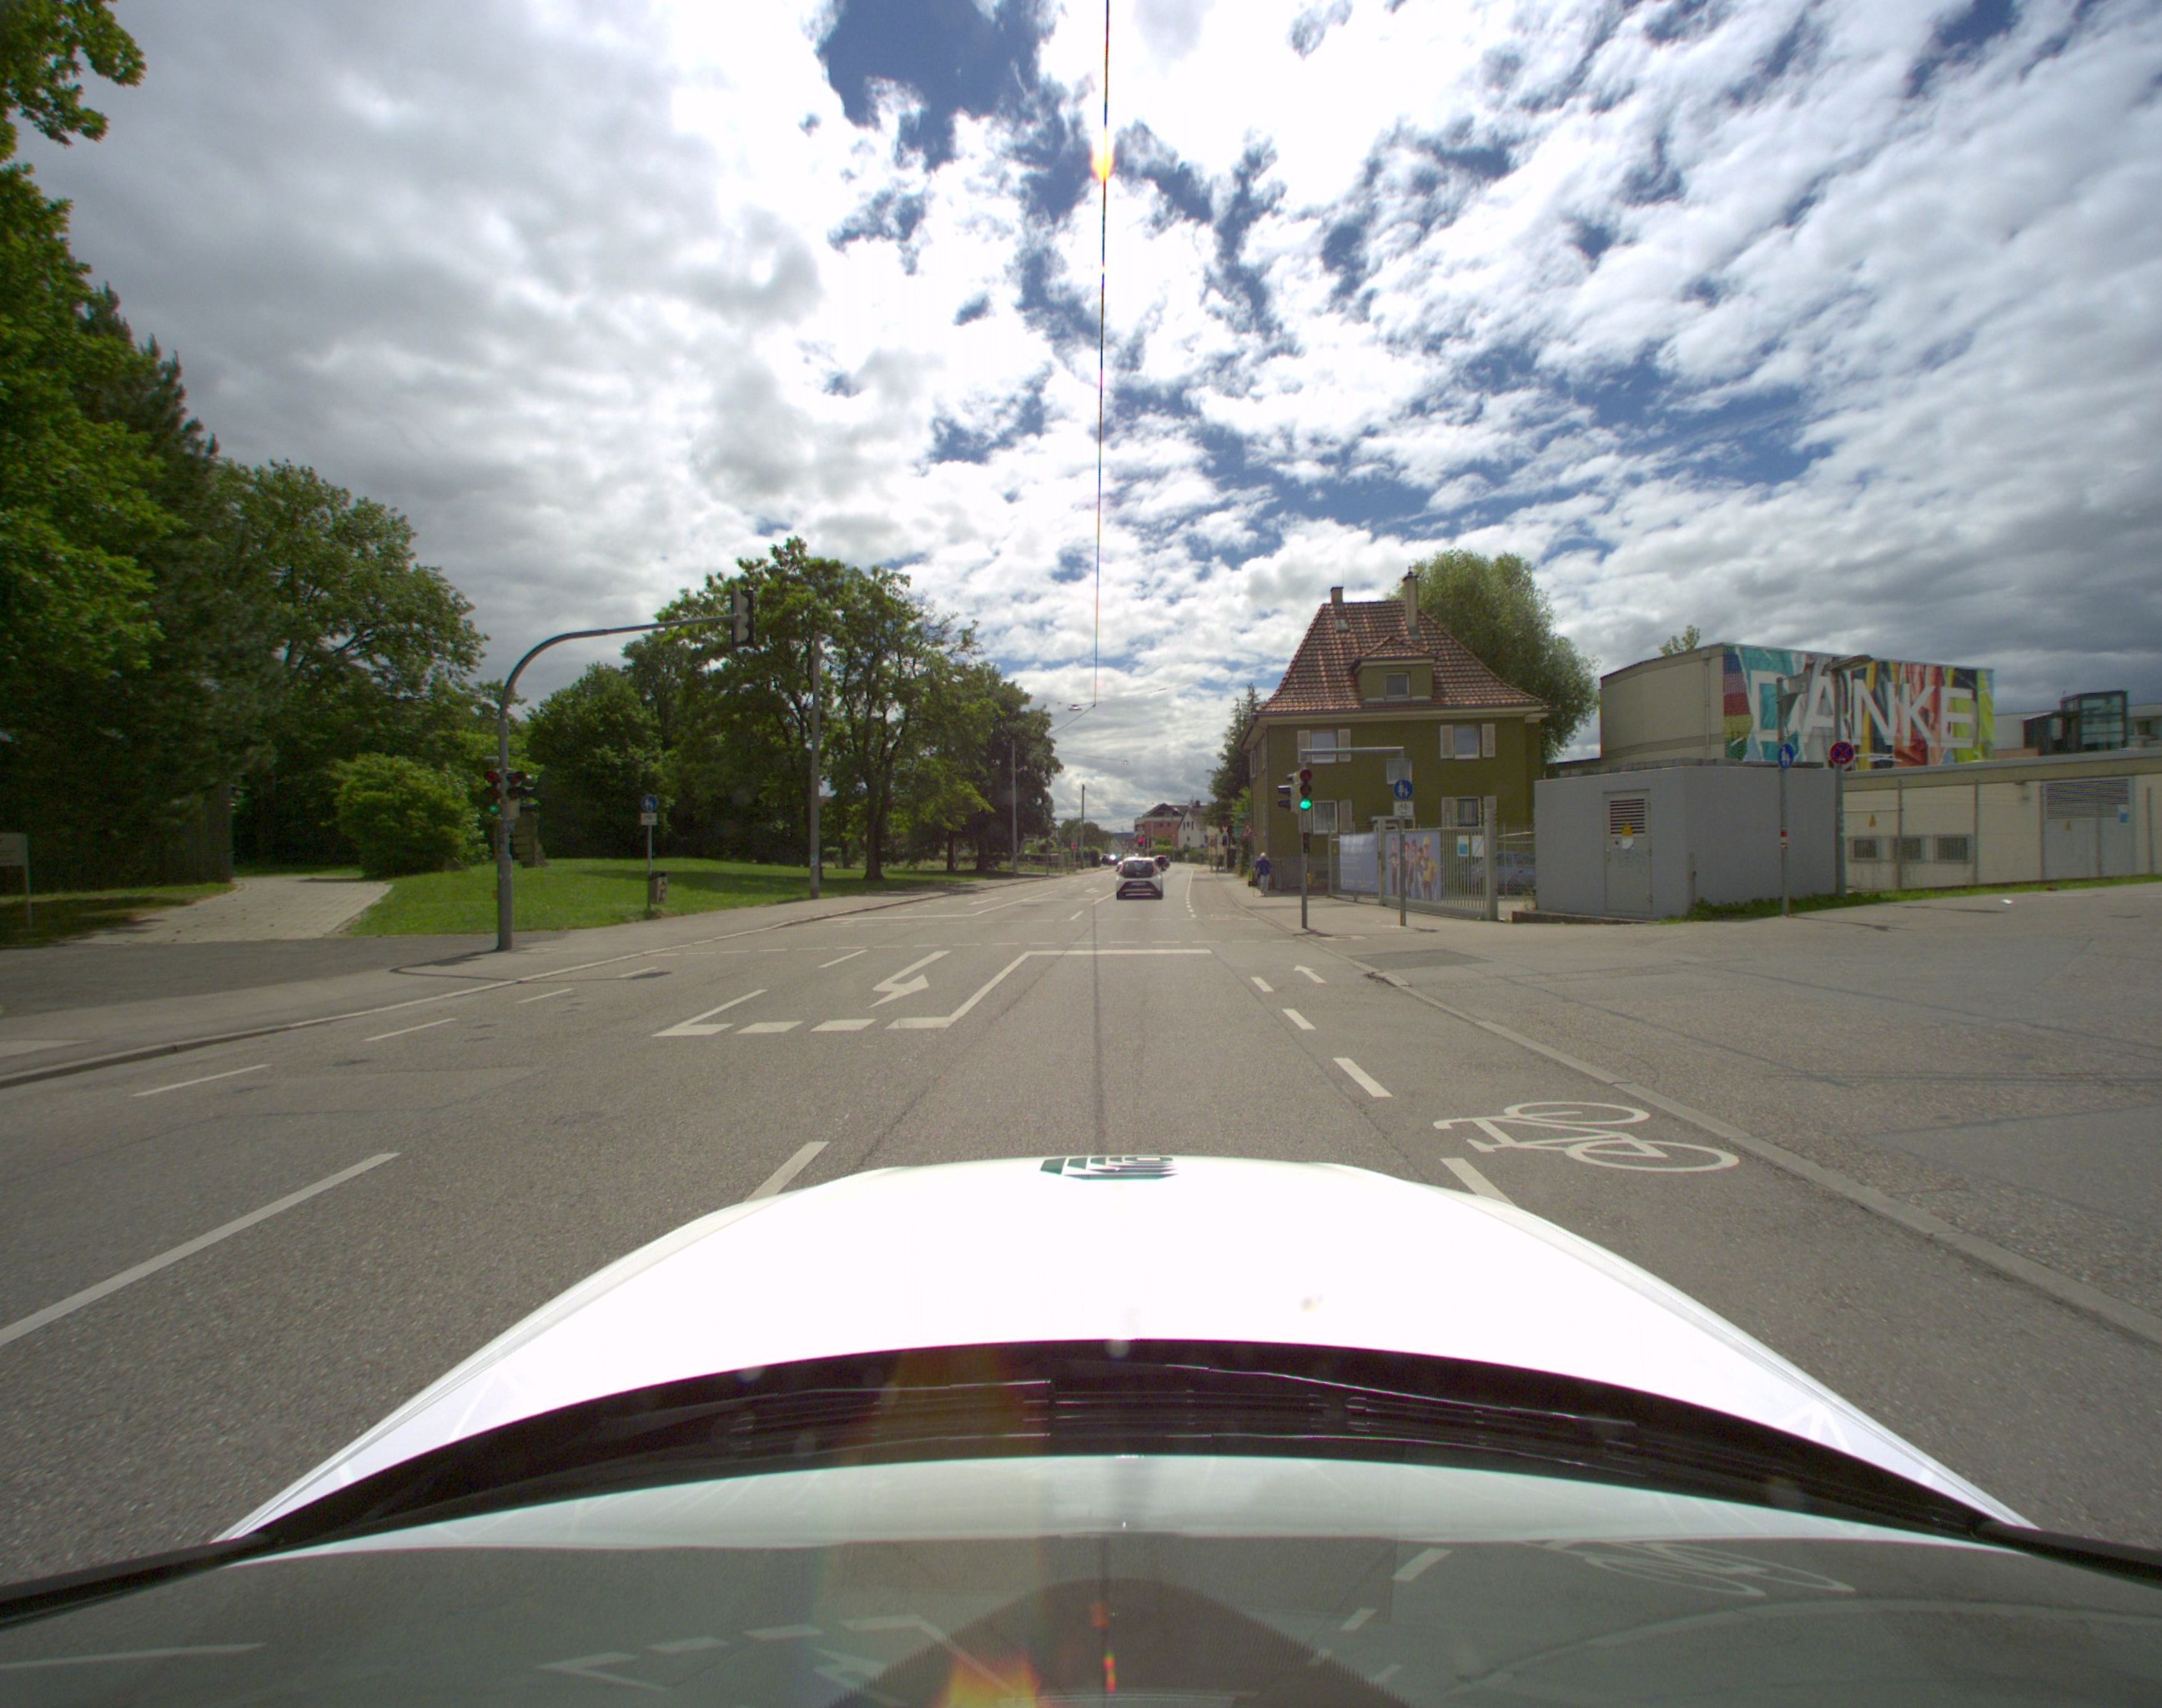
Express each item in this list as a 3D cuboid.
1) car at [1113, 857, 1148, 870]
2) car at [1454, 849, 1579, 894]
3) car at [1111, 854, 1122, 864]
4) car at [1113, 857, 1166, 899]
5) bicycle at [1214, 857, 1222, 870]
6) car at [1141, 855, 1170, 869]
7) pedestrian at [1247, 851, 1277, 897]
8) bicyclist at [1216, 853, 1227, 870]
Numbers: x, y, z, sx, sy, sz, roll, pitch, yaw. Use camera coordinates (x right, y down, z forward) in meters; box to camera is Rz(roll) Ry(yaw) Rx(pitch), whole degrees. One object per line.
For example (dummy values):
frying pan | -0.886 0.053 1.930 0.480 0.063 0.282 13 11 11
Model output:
car | 5.476 1.057 90.015 1.886 1.441 4.125 0 0 36
car | 15.089 0.583 28.337 3.491 1.494 1.659 0 1 1
car | 6.126 0.897 141.345 1.986 1.719 4.002 0 0 2
car | 2.192 0.849 29.860 1.711 1.442 3.716 0 0 7
bicycle | 13.572 0.955 80.682 0.455 1.172 1.480 -4 2 2
car | 9.024 0.964 98.681 3.341 1.655 1.726 0 0 -3
pedestrian | 6.447 0.699 29.083 0.820 1.572 0.988 -2 -1 3
bicyclist | 13.893 0.747 80.590 0.837 1.553 0.757 -4 2 2
